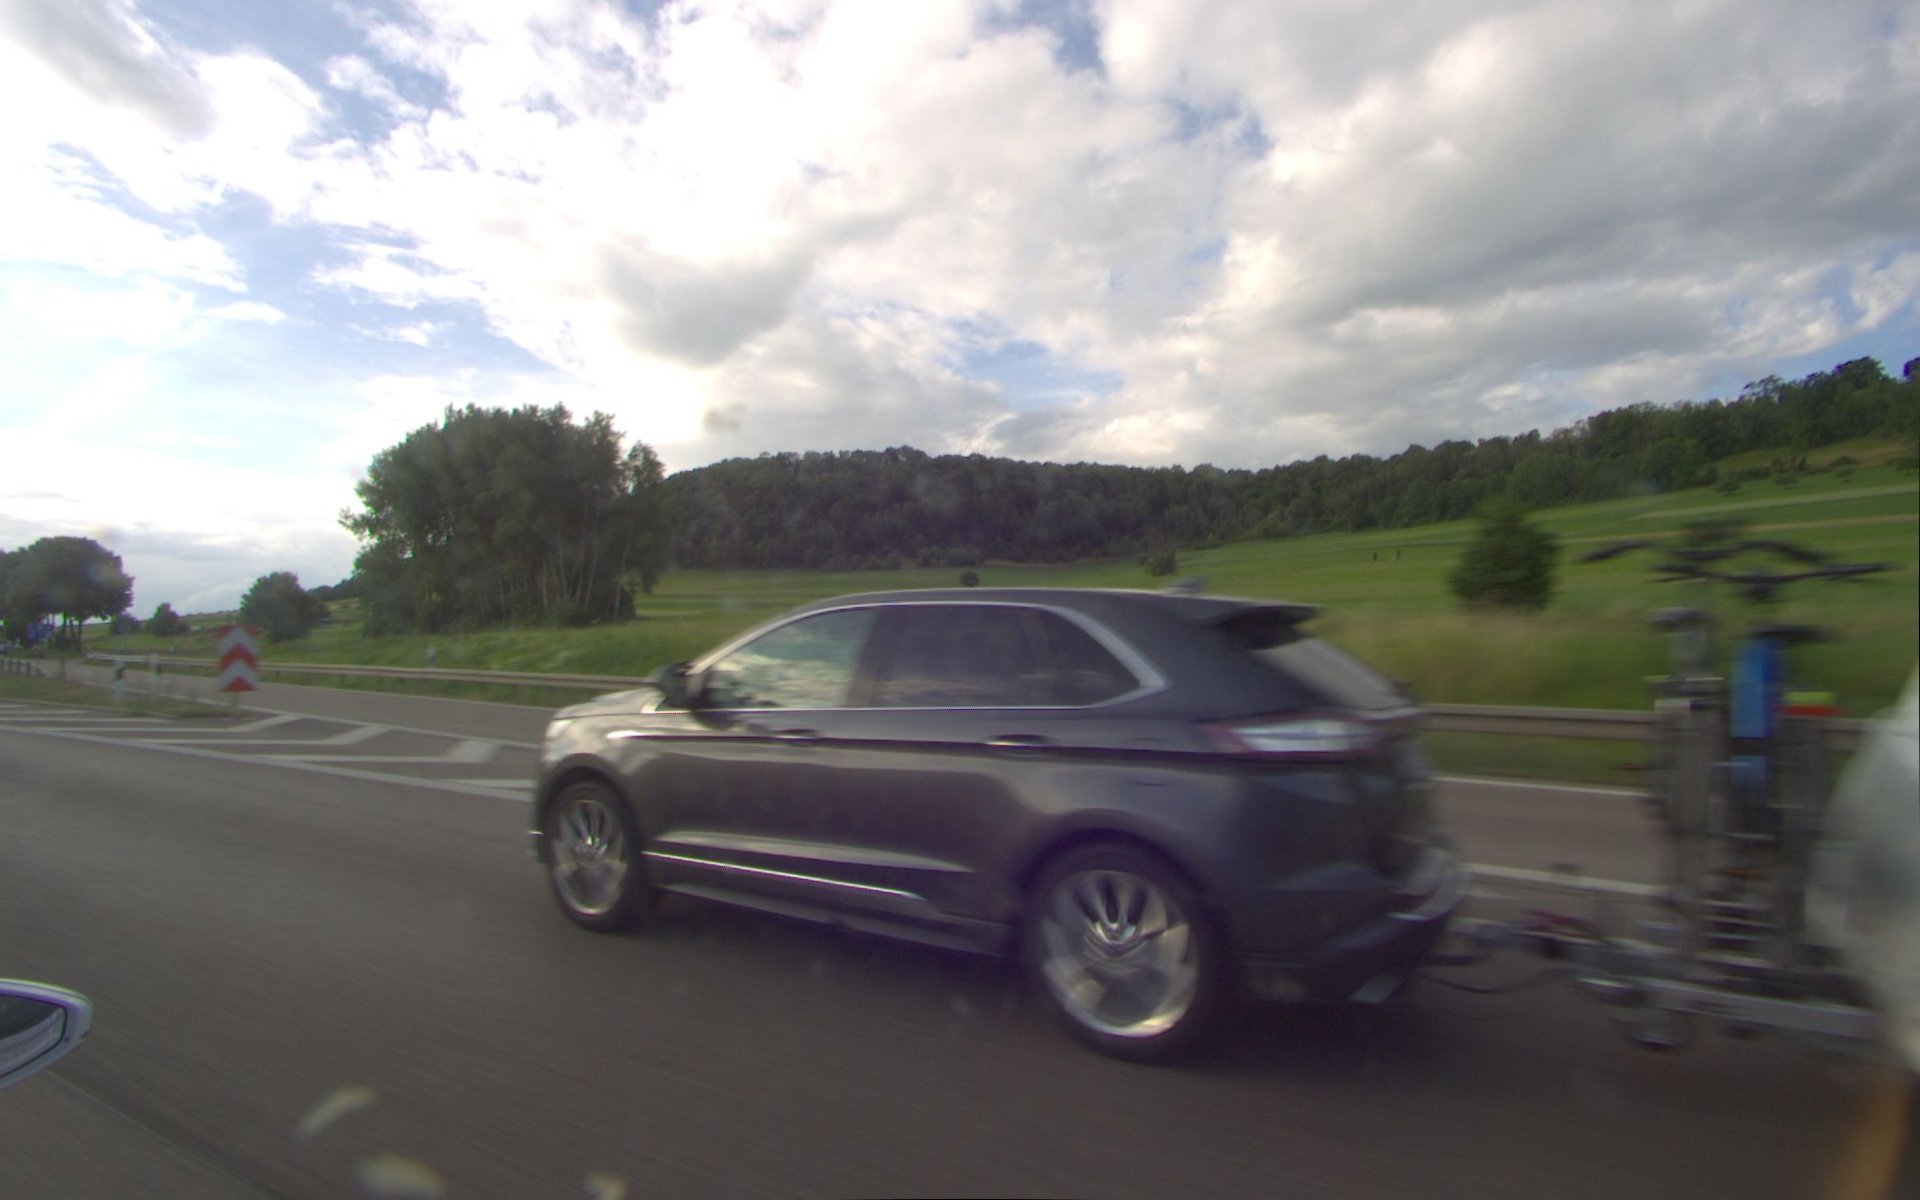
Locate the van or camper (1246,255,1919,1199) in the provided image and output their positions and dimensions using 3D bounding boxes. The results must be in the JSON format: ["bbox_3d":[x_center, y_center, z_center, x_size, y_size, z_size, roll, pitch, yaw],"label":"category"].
[{"bbox_3d":[3.753,0.413,2.635,5.256,2.267,2.543,-1,-4,35],"label":"van or camper"}]

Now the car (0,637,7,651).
[{"bbox_3d":[-107.816,4.855,110.364,1.952,1.575,4.309,-1,-2,-8],"label":"car"}]

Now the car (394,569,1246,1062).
[{"bbox_3d":[-0.926,0.769,5.340,4.417,1.674,1.783,-1,-1,32],"label":"car"}]

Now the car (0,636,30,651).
[{"bbox_3d":[-102.332,4.630,107.204,1.952,1.575,4.309,-1,-2,-8],"label":"car"}]
